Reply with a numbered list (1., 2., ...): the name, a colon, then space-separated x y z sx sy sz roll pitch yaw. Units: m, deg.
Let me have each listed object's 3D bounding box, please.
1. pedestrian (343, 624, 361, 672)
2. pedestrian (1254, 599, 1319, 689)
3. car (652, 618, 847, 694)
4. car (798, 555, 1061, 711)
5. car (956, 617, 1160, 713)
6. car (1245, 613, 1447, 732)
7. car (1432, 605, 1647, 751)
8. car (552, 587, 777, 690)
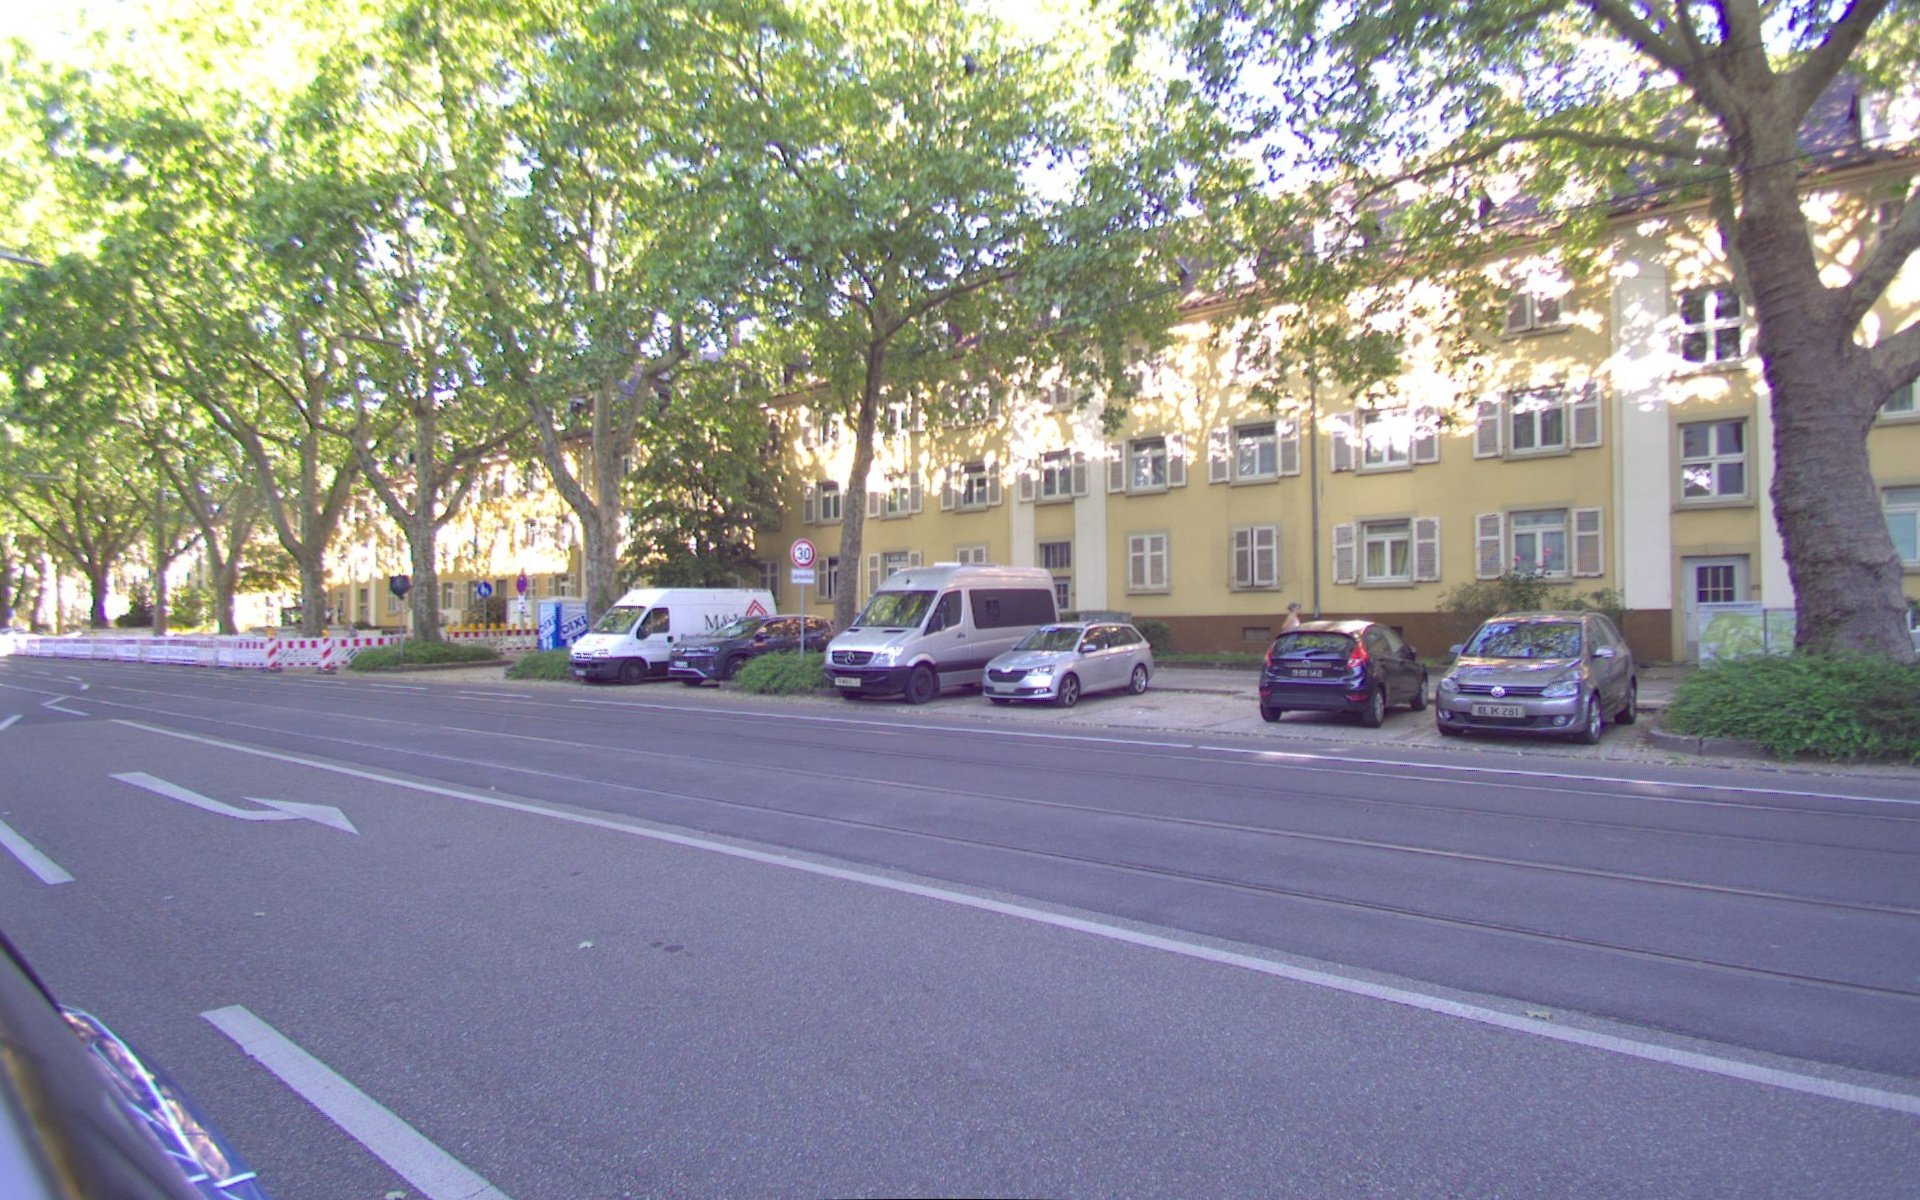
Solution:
1. pedestrian: -22.601 1.765 37.622 0.573 1.759 0.654 -1 0 -32
2. pedestrian: 6.311 0.831 19.573 0.955 1.673 0.764 -1 0 41
3. car: -4.977 1.278 24.446 1.772 1.664 4.570 -2 -2 38
4. car: -0.426 0.610 20.445 2.221 2.702 5.596 -2 -1 38
5. car: 1.913 1.123 18.833 1.773 1.509 4.031 -2 -1 41
6. car: 5.967 1.002 15.416 1.671 1.509 3.756 -2 -1 41
7. car: 7.744 0.899 13.365 1.672 1.592 3.928 -2 -1 42
8. car: -7.560 0.967 26.373 2.222 2.394 5.336 -2 -2 40
